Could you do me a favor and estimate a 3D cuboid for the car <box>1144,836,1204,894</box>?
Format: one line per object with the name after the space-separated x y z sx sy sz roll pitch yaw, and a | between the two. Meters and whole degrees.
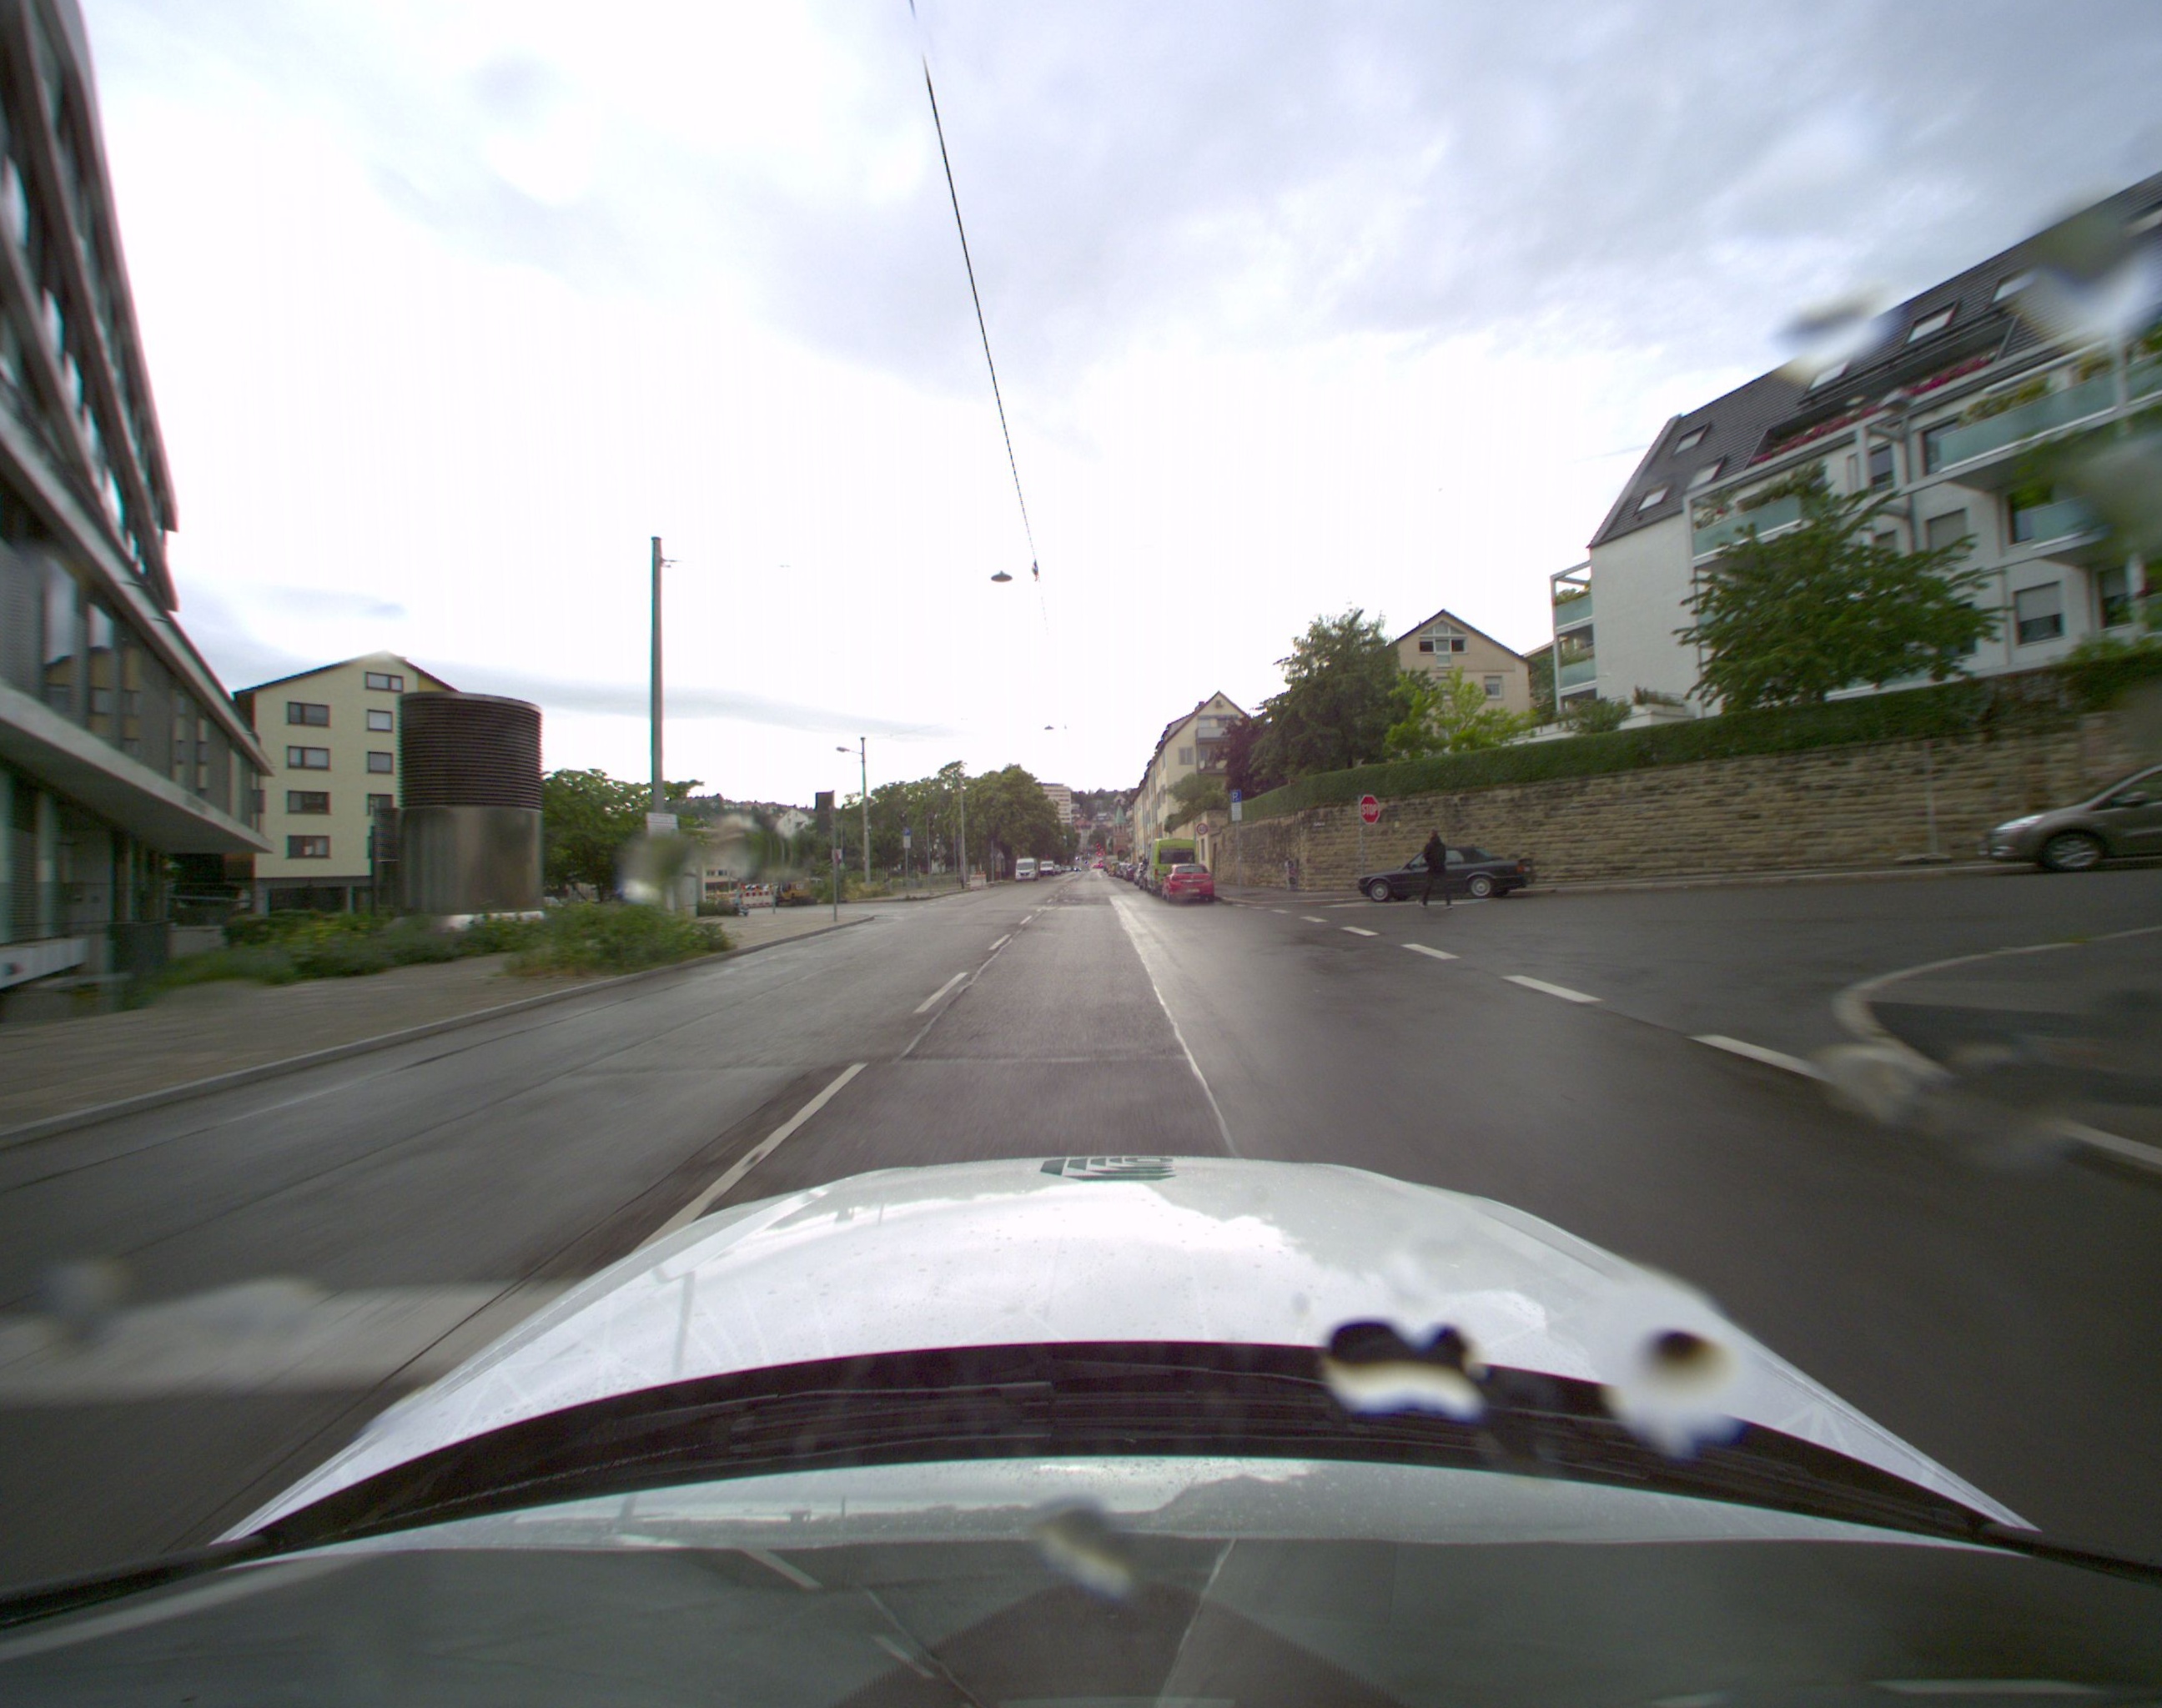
4.182 0.486 37.705 2.197 2.463 6.080 -1 -1 1 | car

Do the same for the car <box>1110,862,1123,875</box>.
5.210 2.131 119.945 1.811 1.924 4.240 -3 -1 1 | car

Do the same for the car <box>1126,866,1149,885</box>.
4.551 1.705 65.862 1.624 1.454 3.759 -1 0 0 | car

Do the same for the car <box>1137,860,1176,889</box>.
3.981 1.075 43.501 1.683 1.454 4.234 -1 0 0 | car

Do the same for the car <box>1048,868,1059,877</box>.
-4.708 3.246 141.740 1.677 1.398 3.909 -3 -1 0 | car

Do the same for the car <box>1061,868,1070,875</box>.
-3.467 3.816 182.171 1.798 1.451 4.655 -3 -2 -1 | car

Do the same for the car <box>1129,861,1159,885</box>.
4.225 1.324 55.293 1.683 1.454 4.233 -1 -4 0 | car

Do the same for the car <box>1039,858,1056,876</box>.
-5.175 1.995 126.054 2.004 2.487 5.985 -3 -1 1 | car

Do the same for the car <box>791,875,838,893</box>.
-30.331 3.390 92.720 1.974 1.834 4.722 -4 -1 42 | car

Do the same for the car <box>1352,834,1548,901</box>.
9.491 0.387 21.179 4.223 1.393 1.763 -6 -3 43 | car

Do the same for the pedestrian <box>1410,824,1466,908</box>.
7.664 0.256 17.537 0.721 1.715 0.905 -3 0 1 | pedestrian

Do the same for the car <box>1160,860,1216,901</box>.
3.972 0.942 30.849 1.714 1.421 4.205 -1 0 2 | car

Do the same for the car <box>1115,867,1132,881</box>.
4.652 2.181 90.346 1.710 1.524 3.999 -1 0 0 | car

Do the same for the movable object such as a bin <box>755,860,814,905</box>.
-17.599 1.700 48.187 1.680 2.459 5.227 -1 -1 -39 | movable object such as a bin

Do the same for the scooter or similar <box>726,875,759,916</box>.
-10.622 1.289 25.581 0.494 1.248 1.232 -1 -2 2 | scooter or similar

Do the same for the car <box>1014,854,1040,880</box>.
-5.758 1.399 87.136 2.223 2.579 6.536 -4 -1 0 | car

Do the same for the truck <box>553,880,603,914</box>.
-48.918 4.217 79.159 5.222 2.931 2.798 -4 0 43 | truck

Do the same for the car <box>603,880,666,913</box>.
-37.359 3.561 68.068 5.659 2.413 2.691 -4 0 42 | car

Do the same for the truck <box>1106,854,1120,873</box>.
5.713 1.714 146.131 2.460 3.172 7.037 -2 -1 1 | truck

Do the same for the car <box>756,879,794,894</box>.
-37.440 3.942 99.698 1.777 1.625 4.025 -4 -1 42 | car

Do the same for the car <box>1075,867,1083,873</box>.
-0.520 3.897 203.378 1.800 1.416 4.380 -2 -1 -2 | car

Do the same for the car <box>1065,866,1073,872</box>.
-2.913 3.687 197.420 1.704 1.451 4.293 -3 -2 0 | car

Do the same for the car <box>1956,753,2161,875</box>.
17.646 -0.740 13.264 4.358 1.740 1.837 -8 -4 43 | car

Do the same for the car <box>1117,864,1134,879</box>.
4.619 1.837 85.165 1.553 1.454 3.759 -1 0 0 | car

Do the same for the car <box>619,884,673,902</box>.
-48.617 4.375 91.091 2.099 1.626 4.934 -7 -3 45 | car
